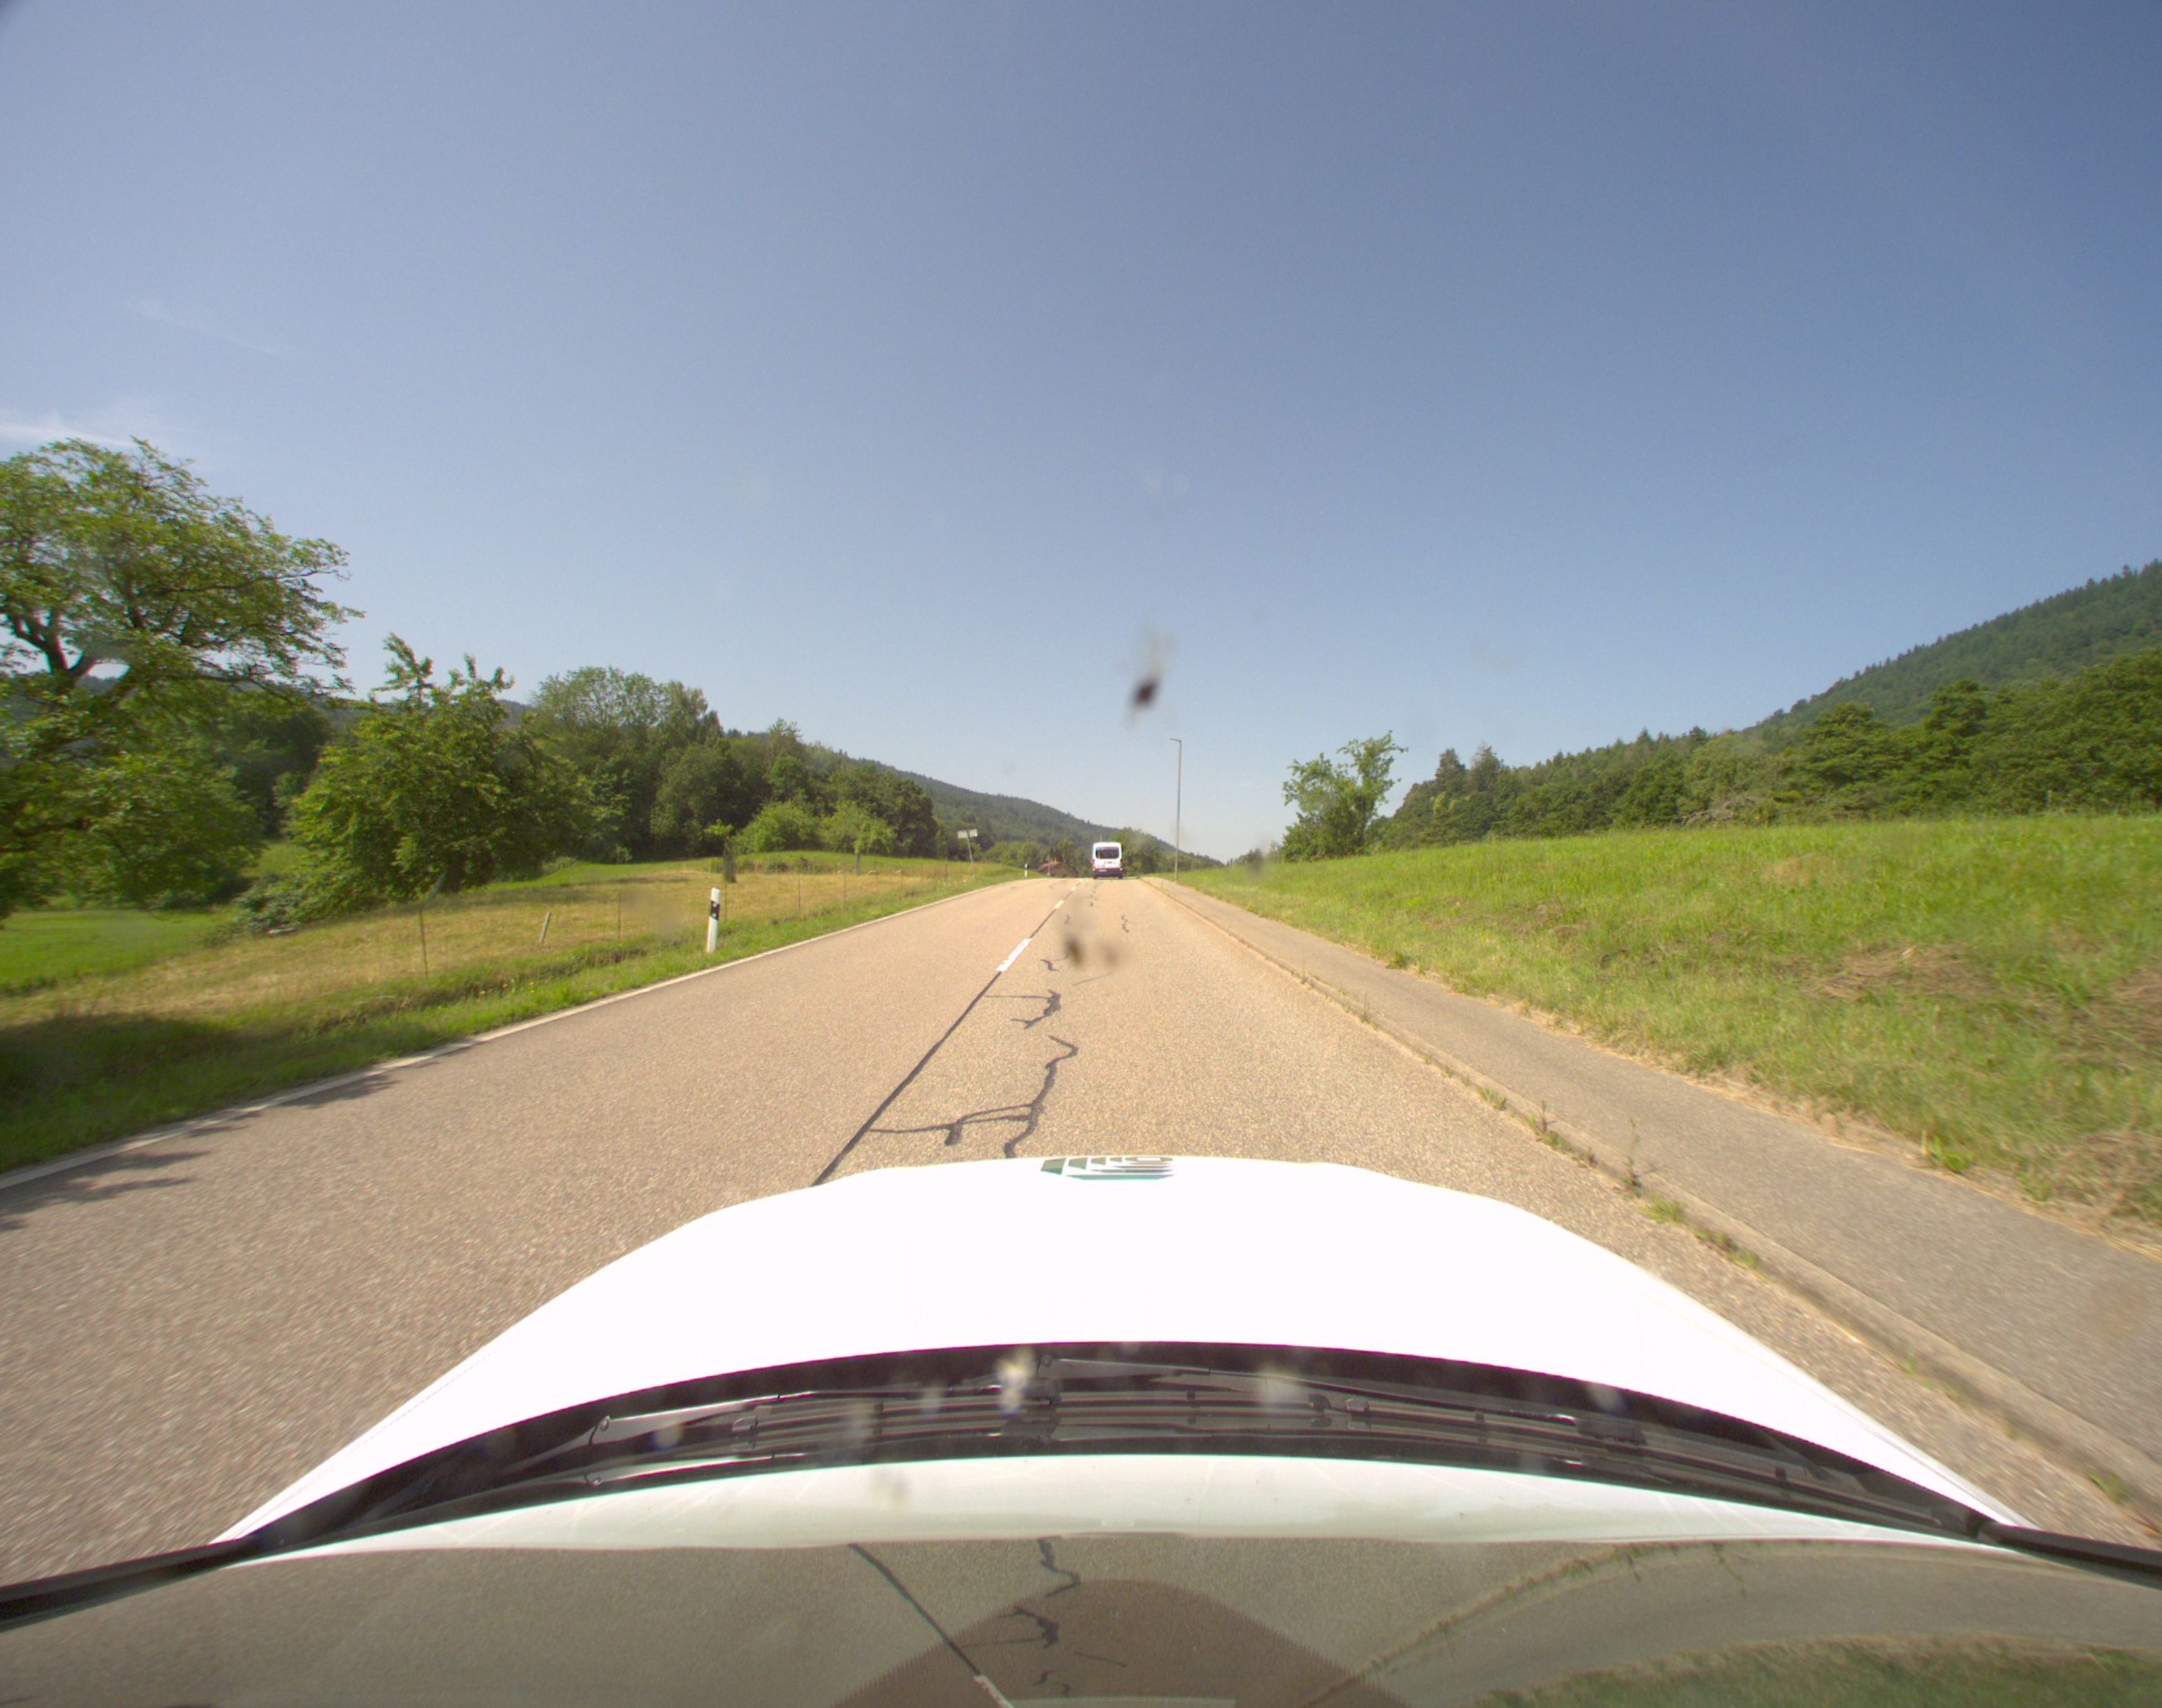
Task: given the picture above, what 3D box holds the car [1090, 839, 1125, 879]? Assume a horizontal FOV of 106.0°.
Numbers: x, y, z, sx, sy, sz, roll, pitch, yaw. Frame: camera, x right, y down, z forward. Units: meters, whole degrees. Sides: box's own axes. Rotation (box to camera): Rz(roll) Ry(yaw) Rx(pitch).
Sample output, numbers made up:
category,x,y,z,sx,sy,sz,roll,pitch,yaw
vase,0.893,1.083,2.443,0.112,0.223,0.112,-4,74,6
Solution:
category,x,y,z,sx,sy,sz,roll,pitch,yaw
car,1.820,0.376,56.474,2.214,2.526,4.985,-2,-2,1
